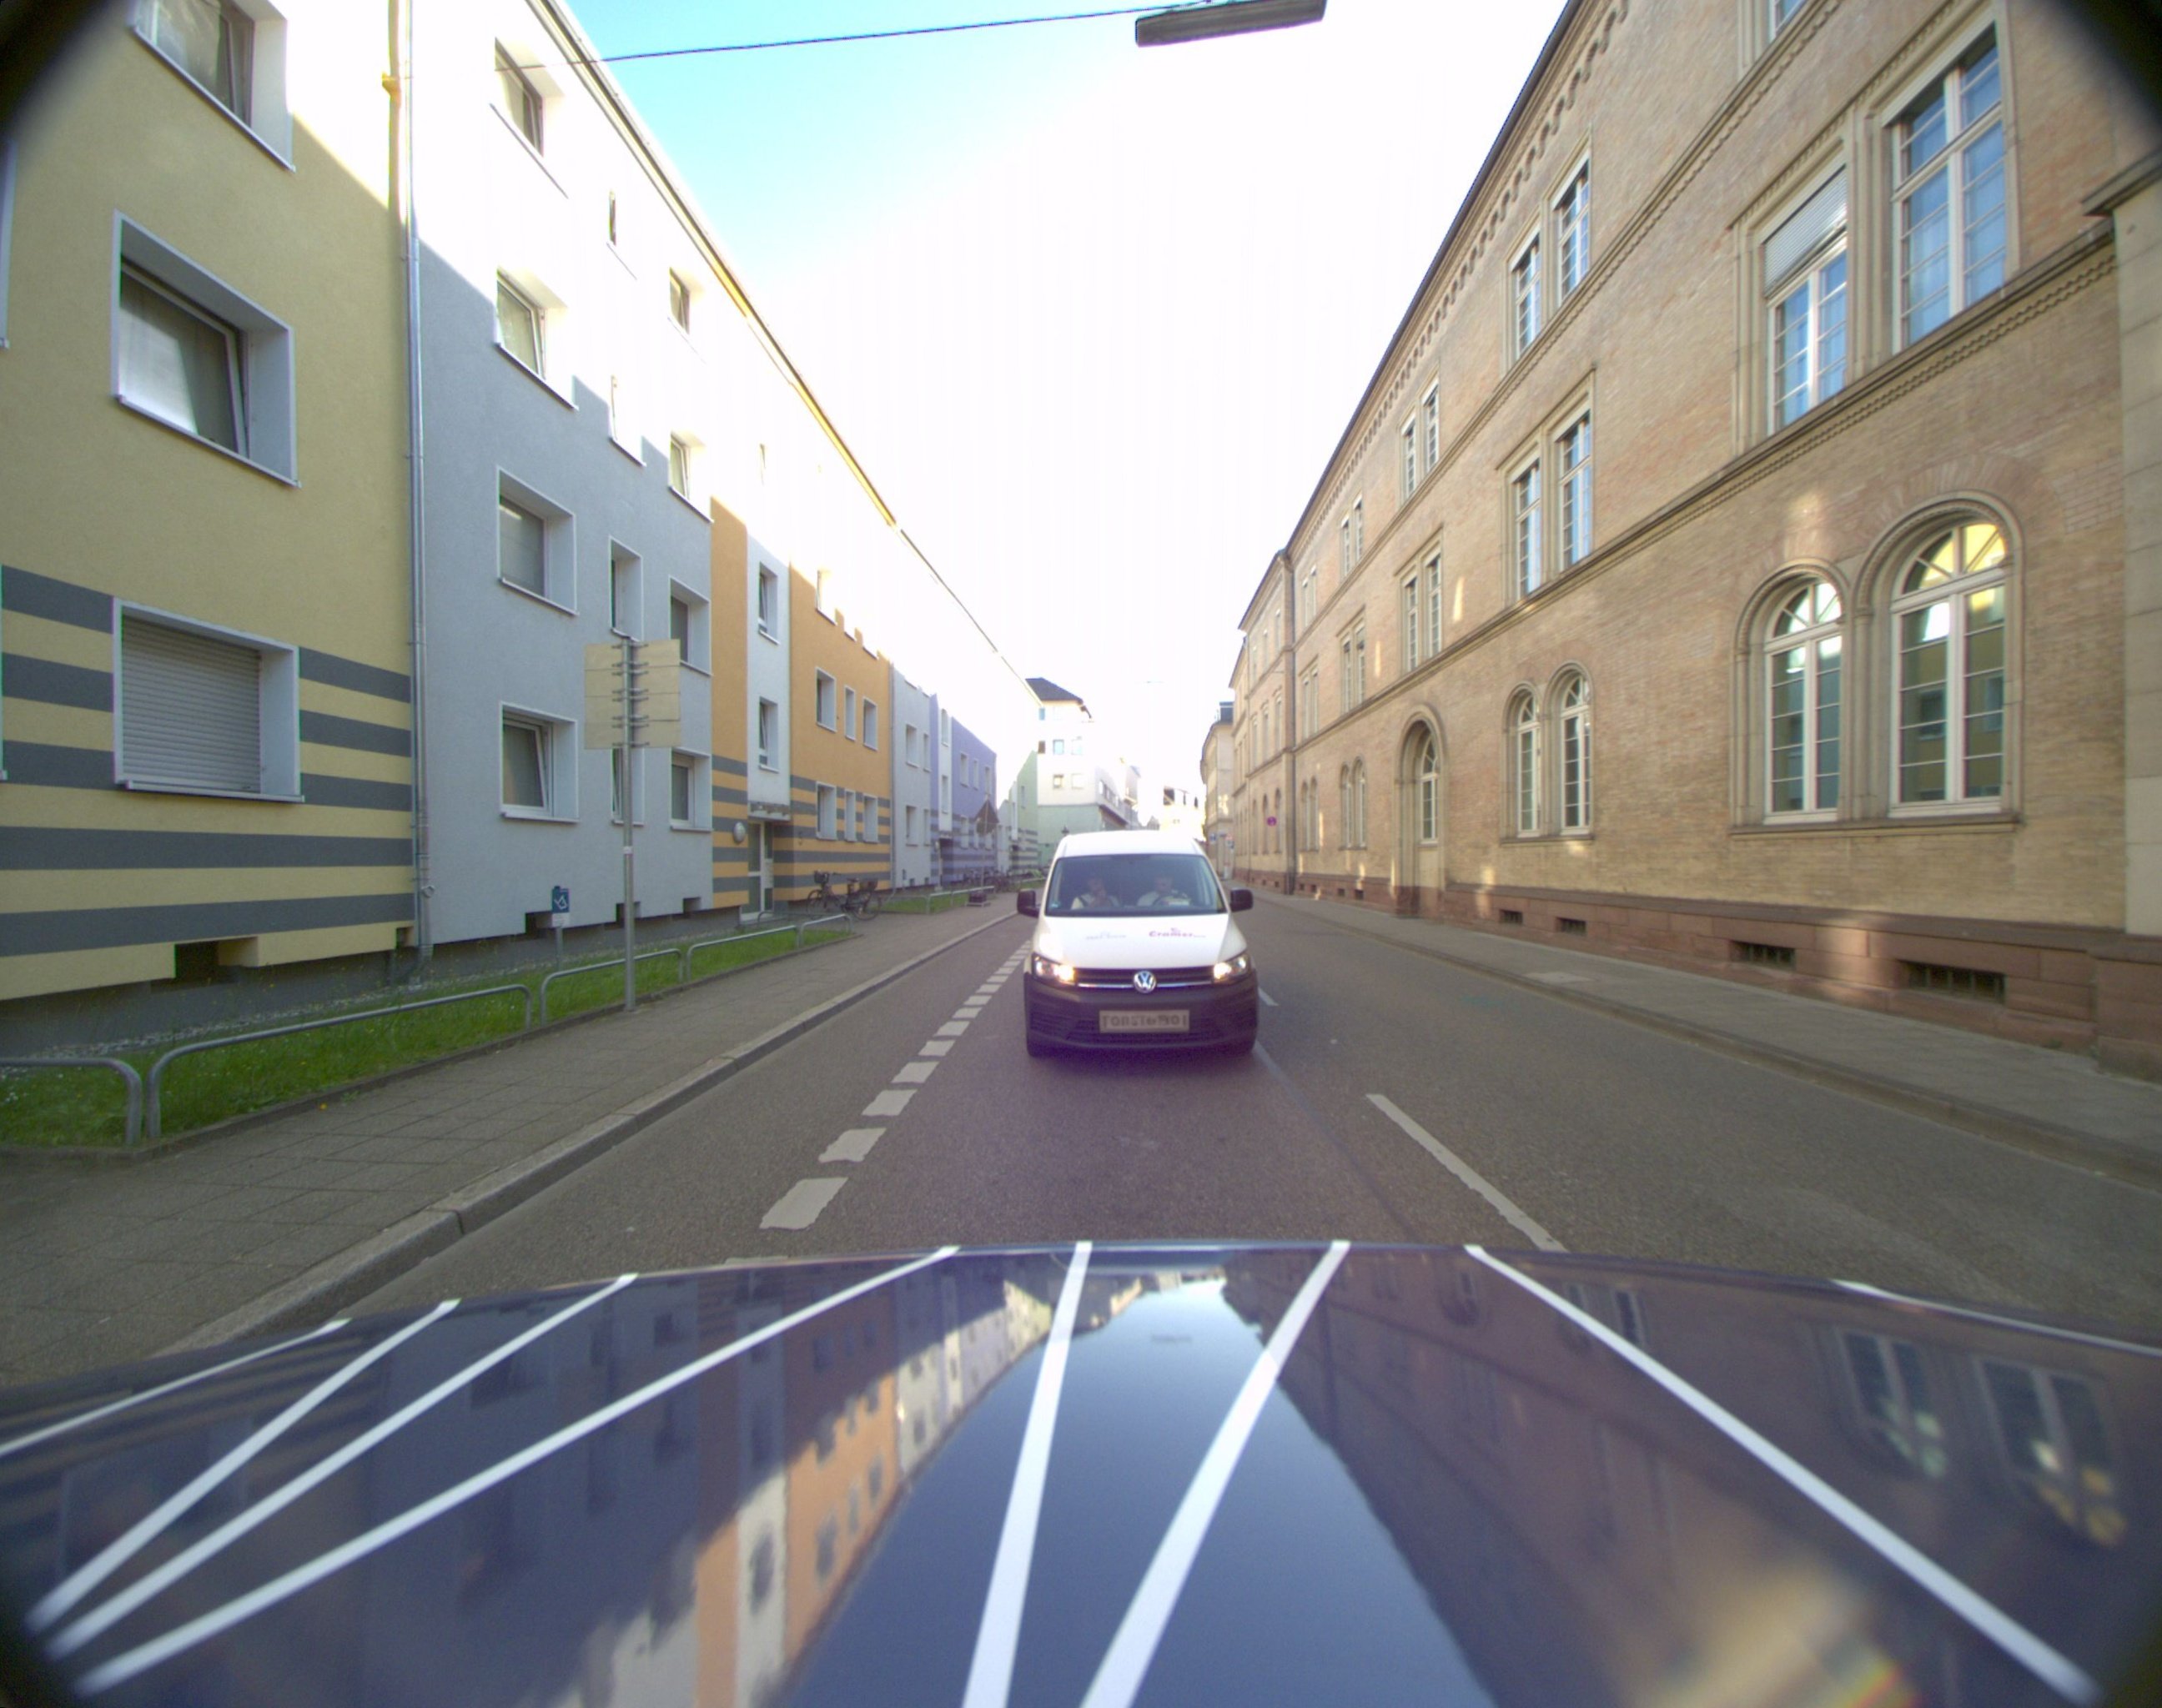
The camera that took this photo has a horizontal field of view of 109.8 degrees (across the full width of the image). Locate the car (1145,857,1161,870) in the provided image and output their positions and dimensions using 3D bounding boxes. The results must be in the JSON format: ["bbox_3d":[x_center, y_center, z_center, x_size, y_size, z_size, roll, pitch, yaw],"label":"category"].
[{"bbox_3d":[10.686,1.410,112.992,1.997,1.643,4.231,-2,1,10],"label":"car"}]

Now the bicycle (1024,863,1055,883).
[{"bbox_3d":[-2.510,1.144,46.043,1.779,1.145,0.484,0,0,0],"label":"bicycle"}]

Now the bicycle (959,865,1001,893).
[{"bbox_3d":[-4.231,1.041,31.832,1.676,1.145,0.484,0,0,4],"label":"bicycle"}]

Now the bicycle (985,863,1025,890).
[{"bbox_3d":[-3.368,0.997,33.671,1.676,1.145,0.484,0,0,4],"label":"bicycle"}]

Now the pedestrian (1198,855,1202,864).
[{"bbox_3d":[23.014,1.006,146.609,0.705,1.627,0.833,3,2,12],"label":"pedestrian"}]

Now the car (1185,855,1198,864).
[{"bbox_3d":[22.120,1.049,152.012,1.996,1.643,4.233,-2,1,17],"label":"car"}]

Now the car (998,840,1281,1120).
[{"bbox_3d":[0.408,0.769,7.475,1.769,1.761,5.331,-1,1,1],"label":"car"}]

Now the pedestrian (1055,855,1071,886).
[{"bbox_3d":[-0.991,0.877,41.556,0.705,1.627,0.833,2,2,5],"label":"pedestrian"}]

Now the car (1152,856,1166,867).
[{"bbox_3d":[12.657,1.164,122.690,1.997,1.643,4.231,-2,1,9],"label":"car"}]

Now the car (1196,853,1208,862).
[{"bbox_3d":[26.103,0.761,163.742,1.996,1.643,4.233,-2,1,17],"label":"car"}]

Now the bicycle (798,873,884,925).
[{"bbox_3d":[-5.381,1.011,17.096,1.780,1.116,0.484,0,0,-5],"label":"bicycle"}]

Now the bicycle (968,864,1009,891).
[{"bbox_3d":[-4.027,1.014,33.126,1.676,1.145,0.484,0,0,4],"label":"bicycle"}]
